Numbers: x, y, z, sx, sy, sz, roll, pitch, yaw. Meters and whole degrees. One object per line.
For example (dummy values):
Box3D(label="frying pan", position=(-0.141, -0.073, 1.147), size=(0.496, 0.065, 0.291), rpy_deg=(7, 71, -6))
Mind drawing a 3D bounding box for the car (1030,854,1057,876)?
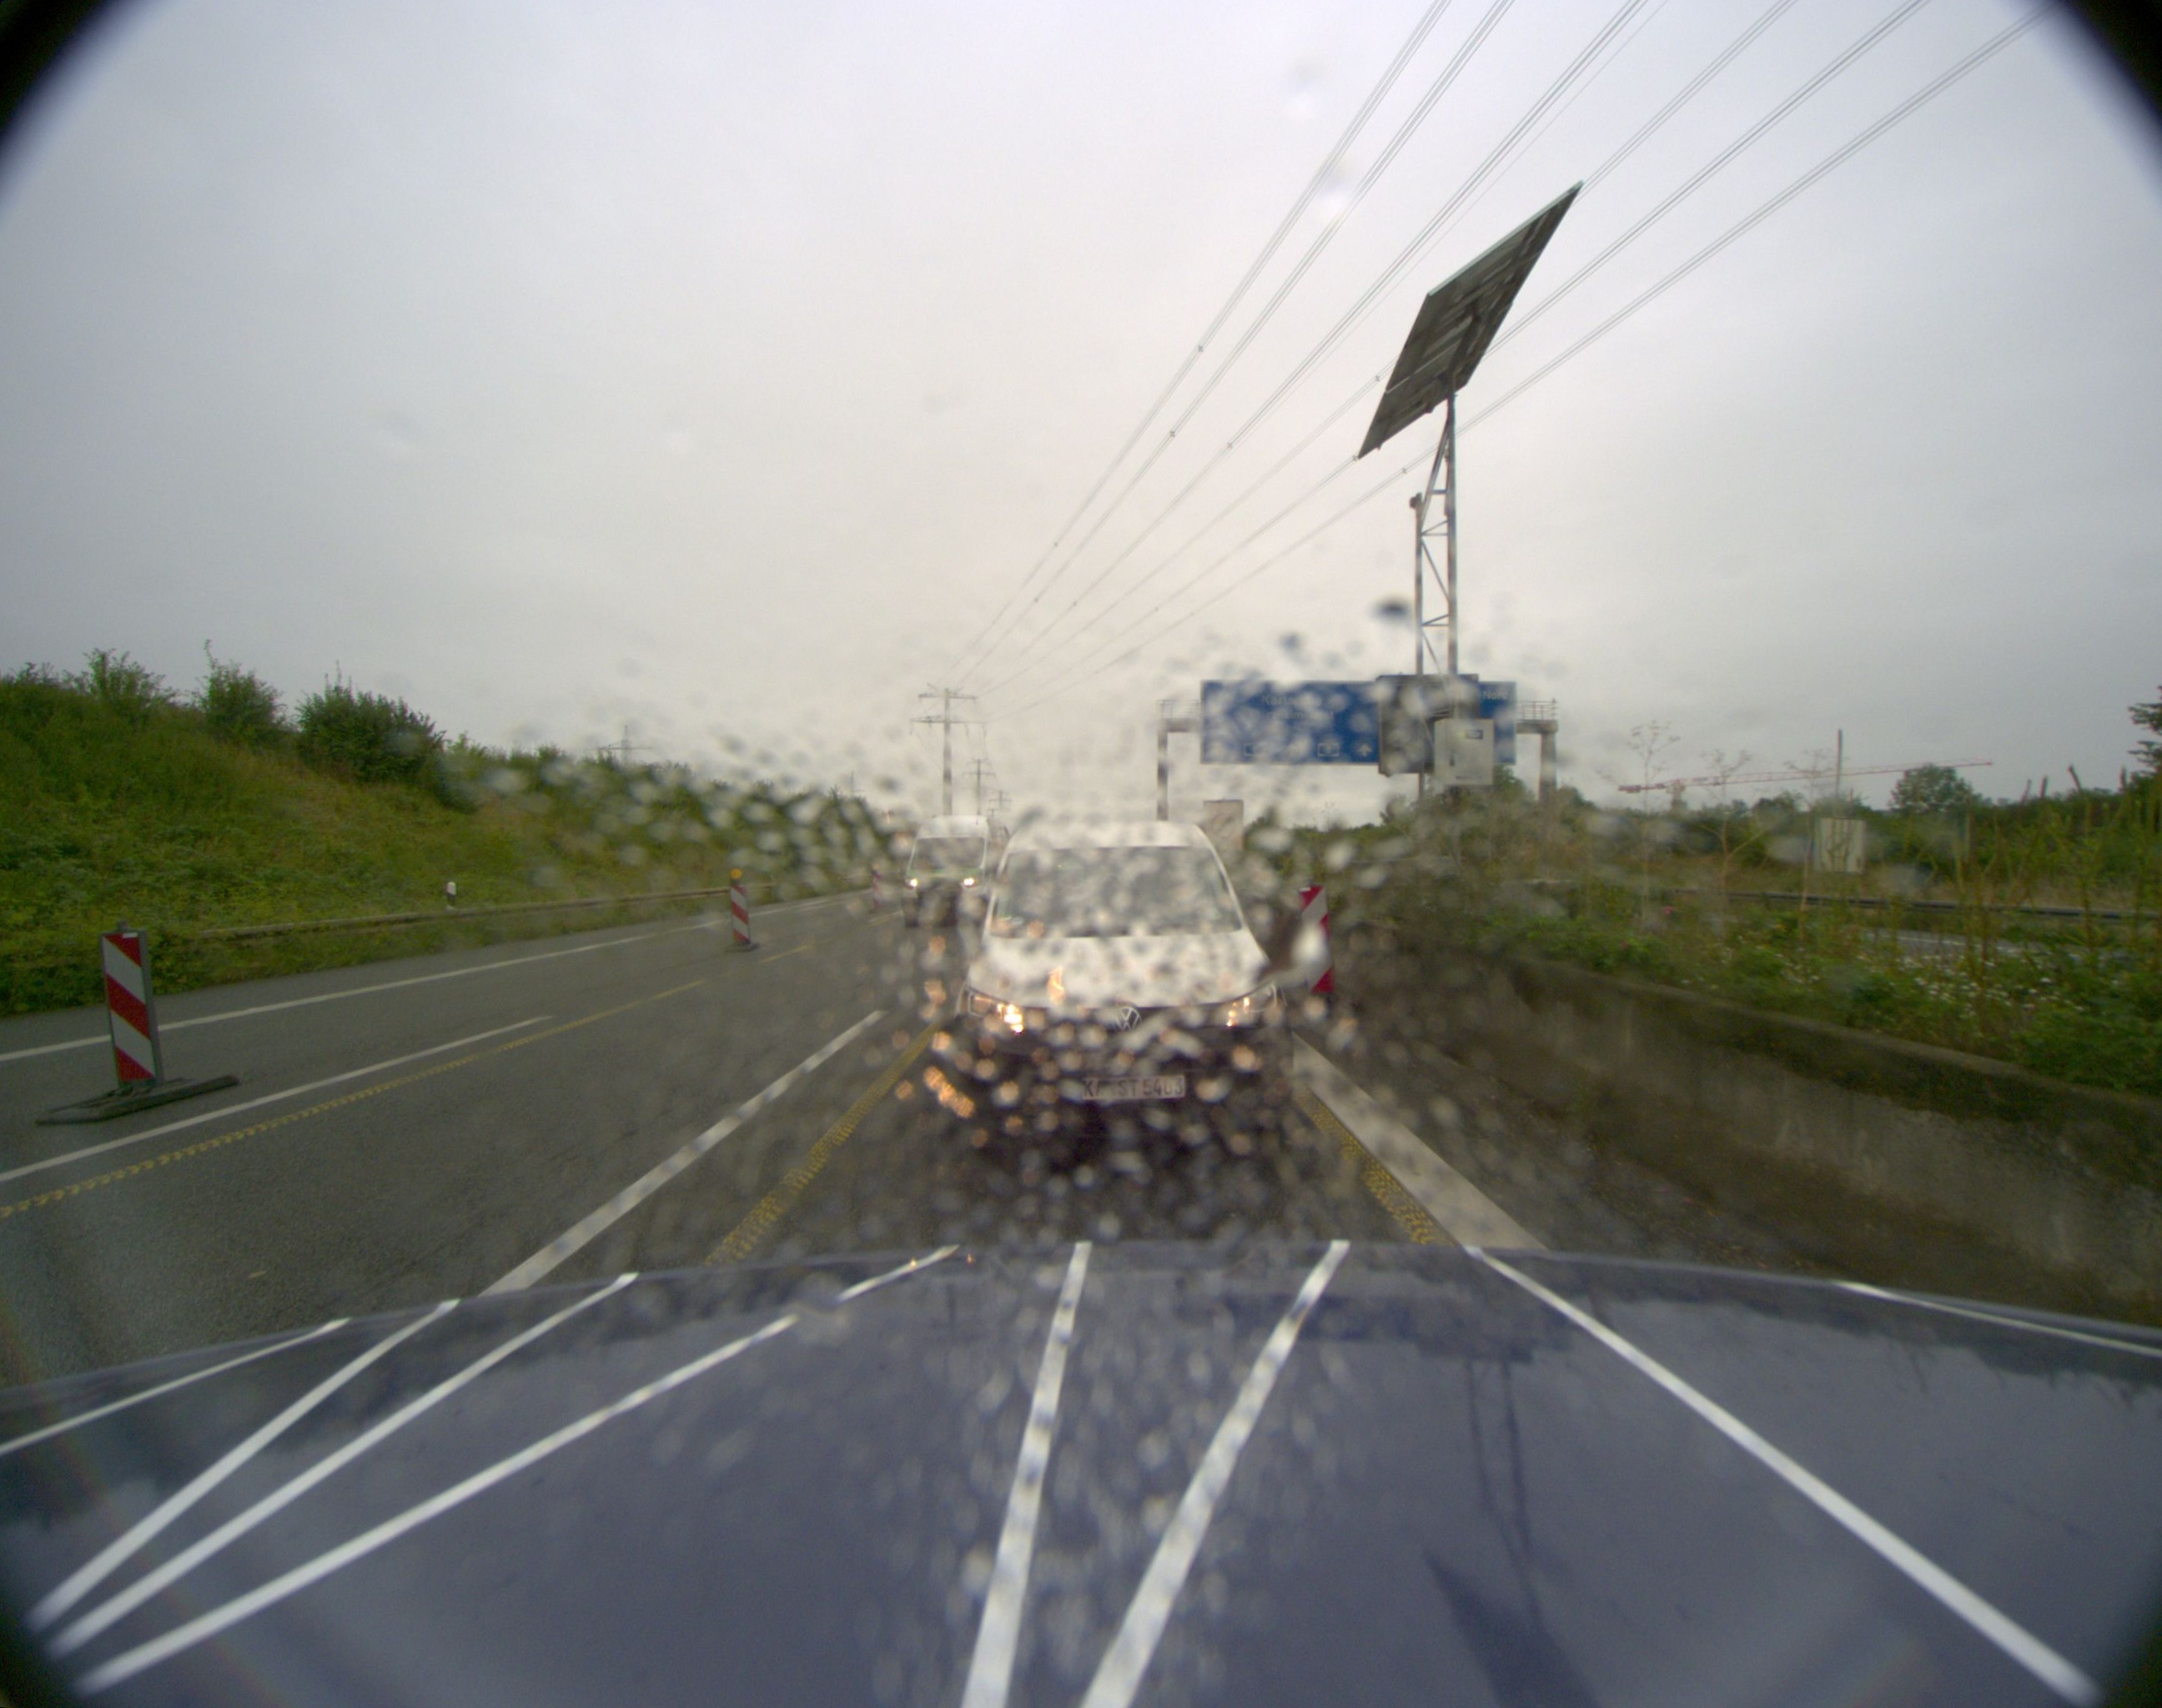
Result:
Box3D(label="car", position=(-2.689, 0.760, 55.455), size=(1.804, 1.523, 4.149), rpy_deg=(-1, 0, -1))

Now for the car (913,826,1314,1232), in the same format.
Box3D(label="car", position=(0.177, 0.792, 5.615), size=(1.768, 1.803, 4.345), rpy_deg=(-1, 0, 1))

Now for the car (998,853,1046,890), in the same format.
Box3D(label="car", position=(-2.775, 0.802, 36.584), size=(1.688, 1.649, 4.281), rpy_deg=(-1, 0, 3))

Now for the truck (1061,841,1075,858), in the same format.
Box3D(label="truck", position=(-3.055, -1.159, 183.188), size=(2.875, 4.007, 8.309), rpy_deg=(-1, 0, 1))

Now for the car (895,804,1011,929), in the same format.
Box3D(label="car", position=(-3.125, 0.274, 19.900), size=(1.998, 2.766, 5.756), rpy_deg=(-1, 0, 0))

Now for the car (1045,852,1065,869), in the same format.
Box3D(label="car", position=(-2.420, 0.593, 71.951), size=(1.804, 1.432, 4.149), rpy_deg=(-1, 0, -1))
